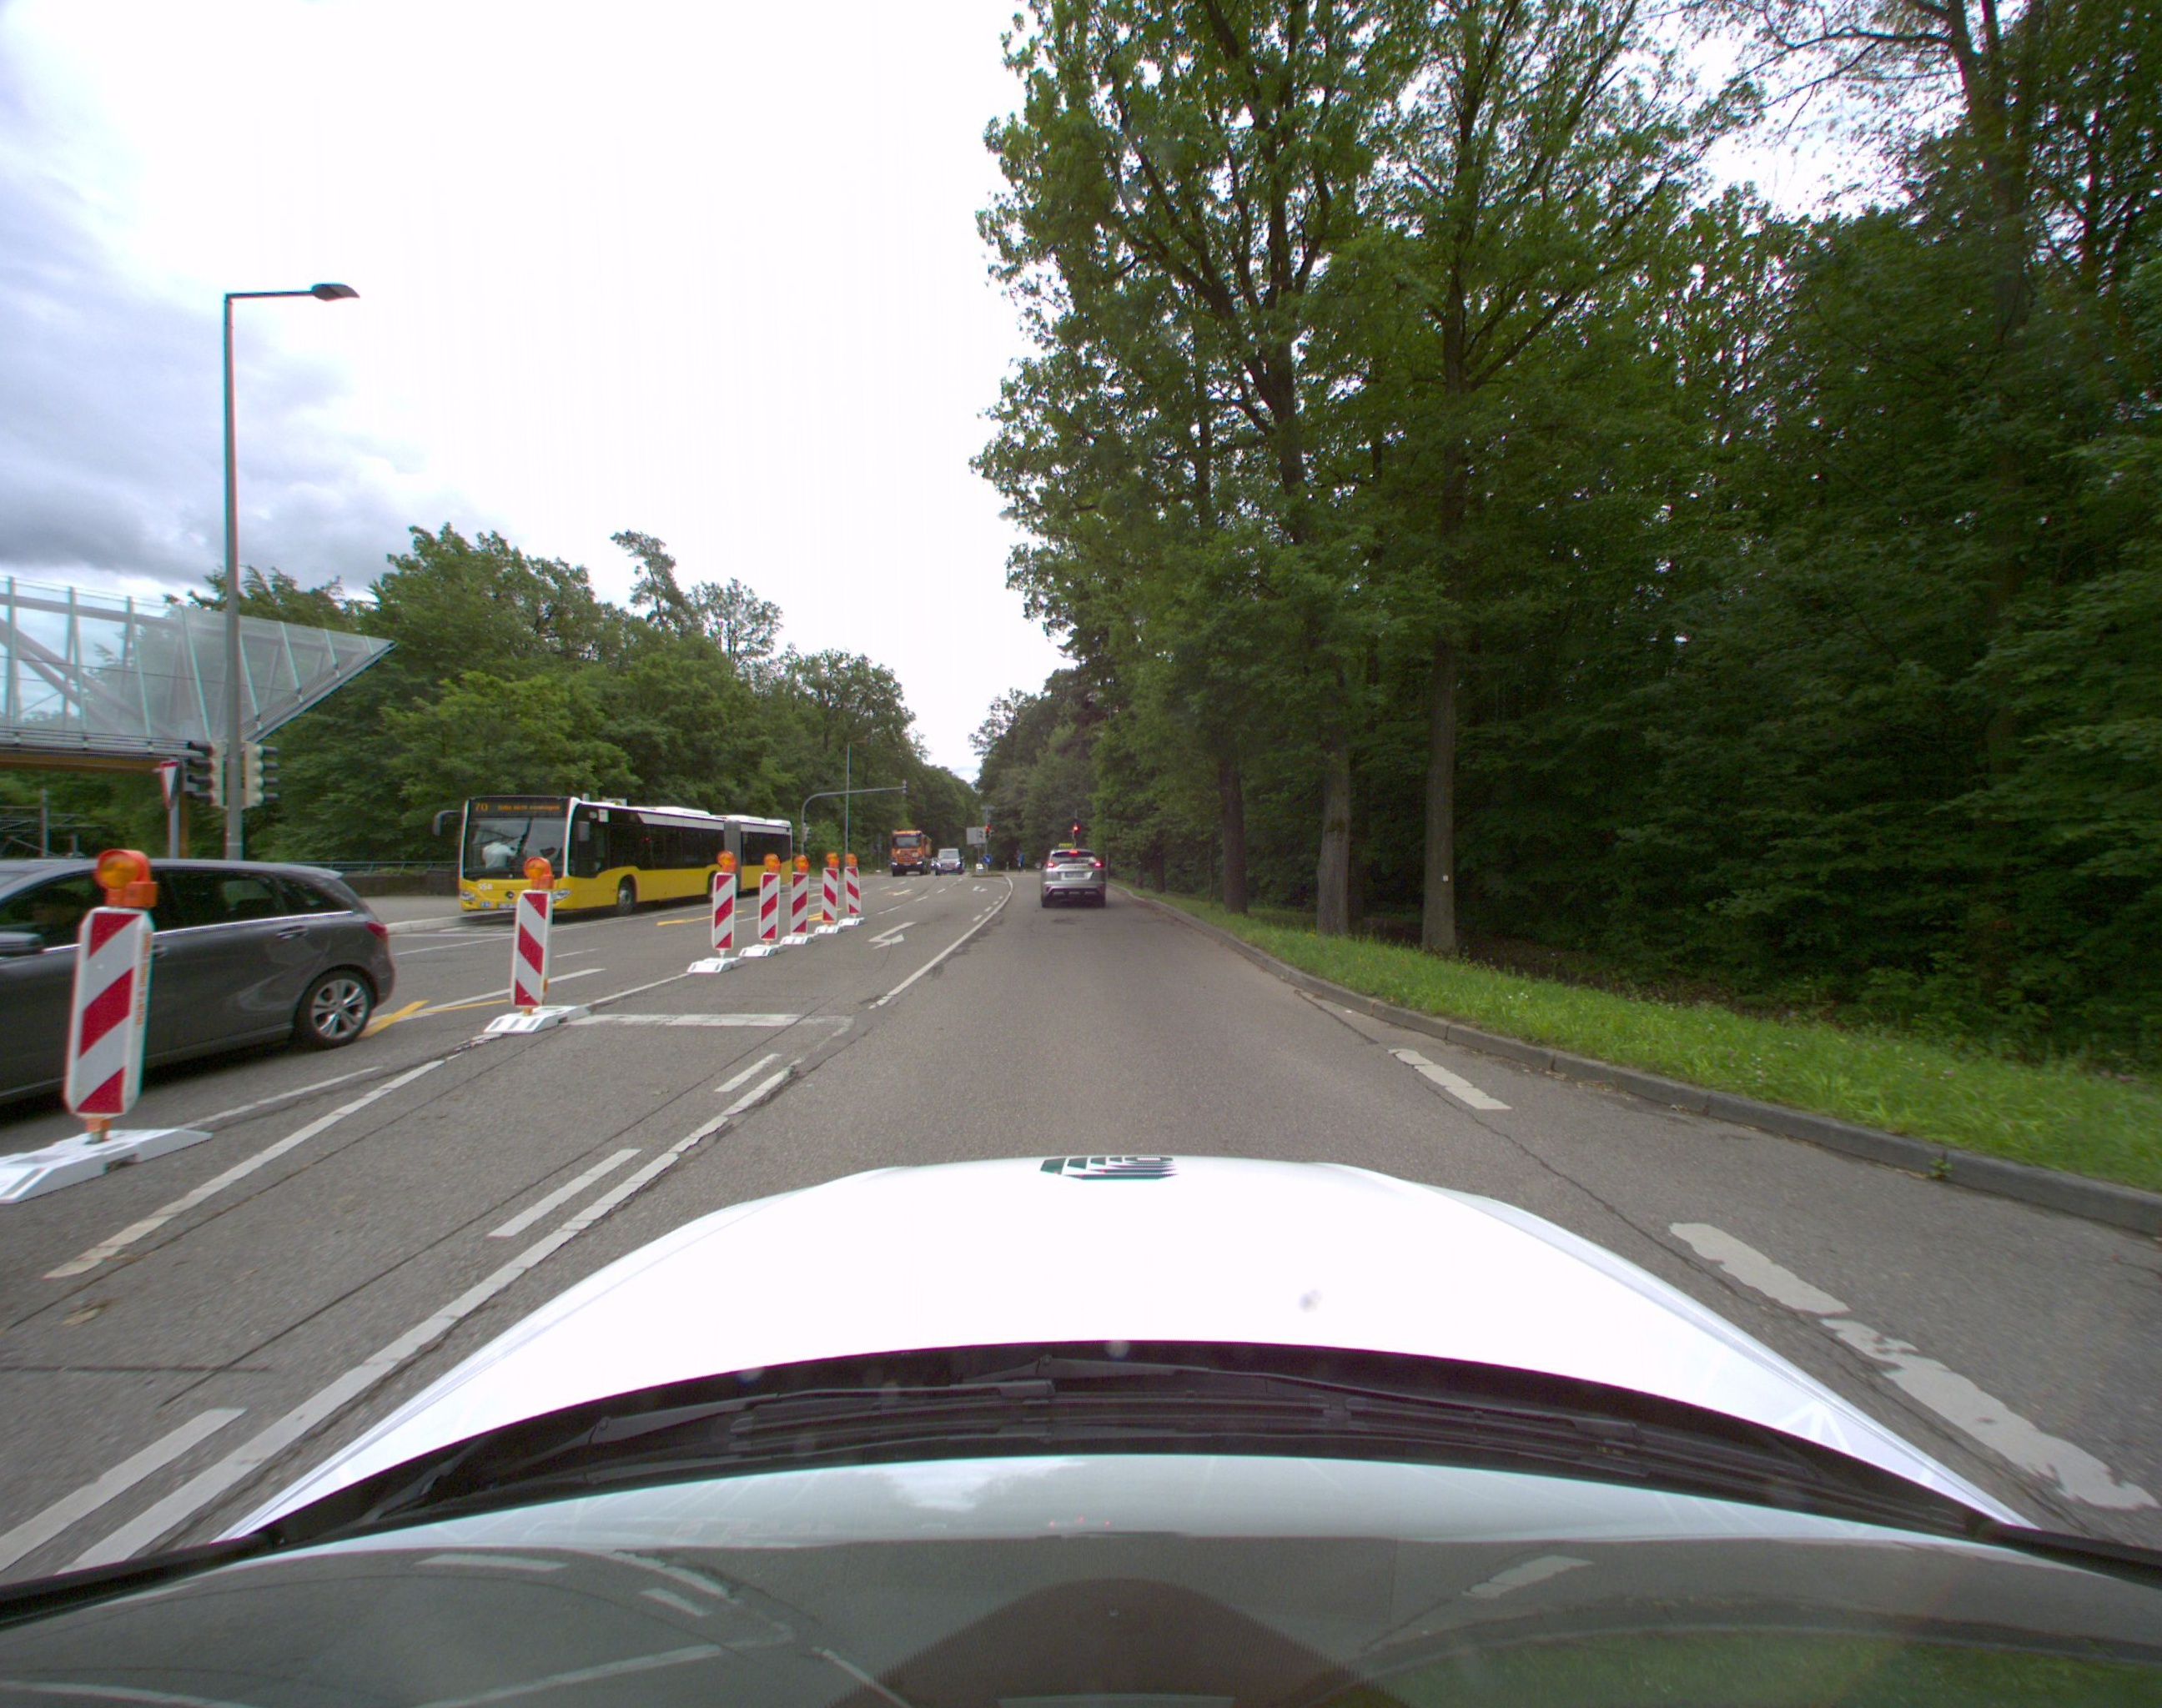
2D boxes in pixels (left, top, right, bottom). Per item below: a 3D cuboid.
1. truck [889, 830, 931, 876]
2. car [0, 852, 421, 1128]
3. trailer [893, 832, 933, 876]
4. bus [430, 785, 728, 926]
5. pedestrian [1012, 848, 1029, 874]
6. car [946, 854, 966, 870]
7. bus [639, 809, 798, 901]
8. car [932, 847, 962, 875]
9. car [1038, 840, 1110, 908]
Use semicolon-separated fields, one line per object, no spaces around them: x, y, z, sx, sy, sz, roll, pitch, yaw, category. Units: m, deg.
-13.098;-0.019;62.977;2.738;3.318;7.137;-2;-1;-9;truck
-6.809;0.762;5.119;1.802;1.509;4.307;-1;-1;0;car
-13.838;0.066;67.716;2.738;3.318;8.541;-2;-1;-9;trailer
-13.311;0.048;23.082;2.893;3.127;9.746;1;0;-4;bus
-3.983;0.456;53.896;1.044;1.649;1.069;-1;1;-1;pedestrian
-11.262;0.723;73.622;1.610;1.321;3.713;-3;1;-6;car
-13.926;0.038;32.280;2.893;3.127;8.682;1;0;-4;bus
-9.904;0.536;60.353;1.992;1.893;4.825;-2;0;-8;car
-0.302;0.524;23.859;1.843;1.780;3.995;-2;0;-4;car
